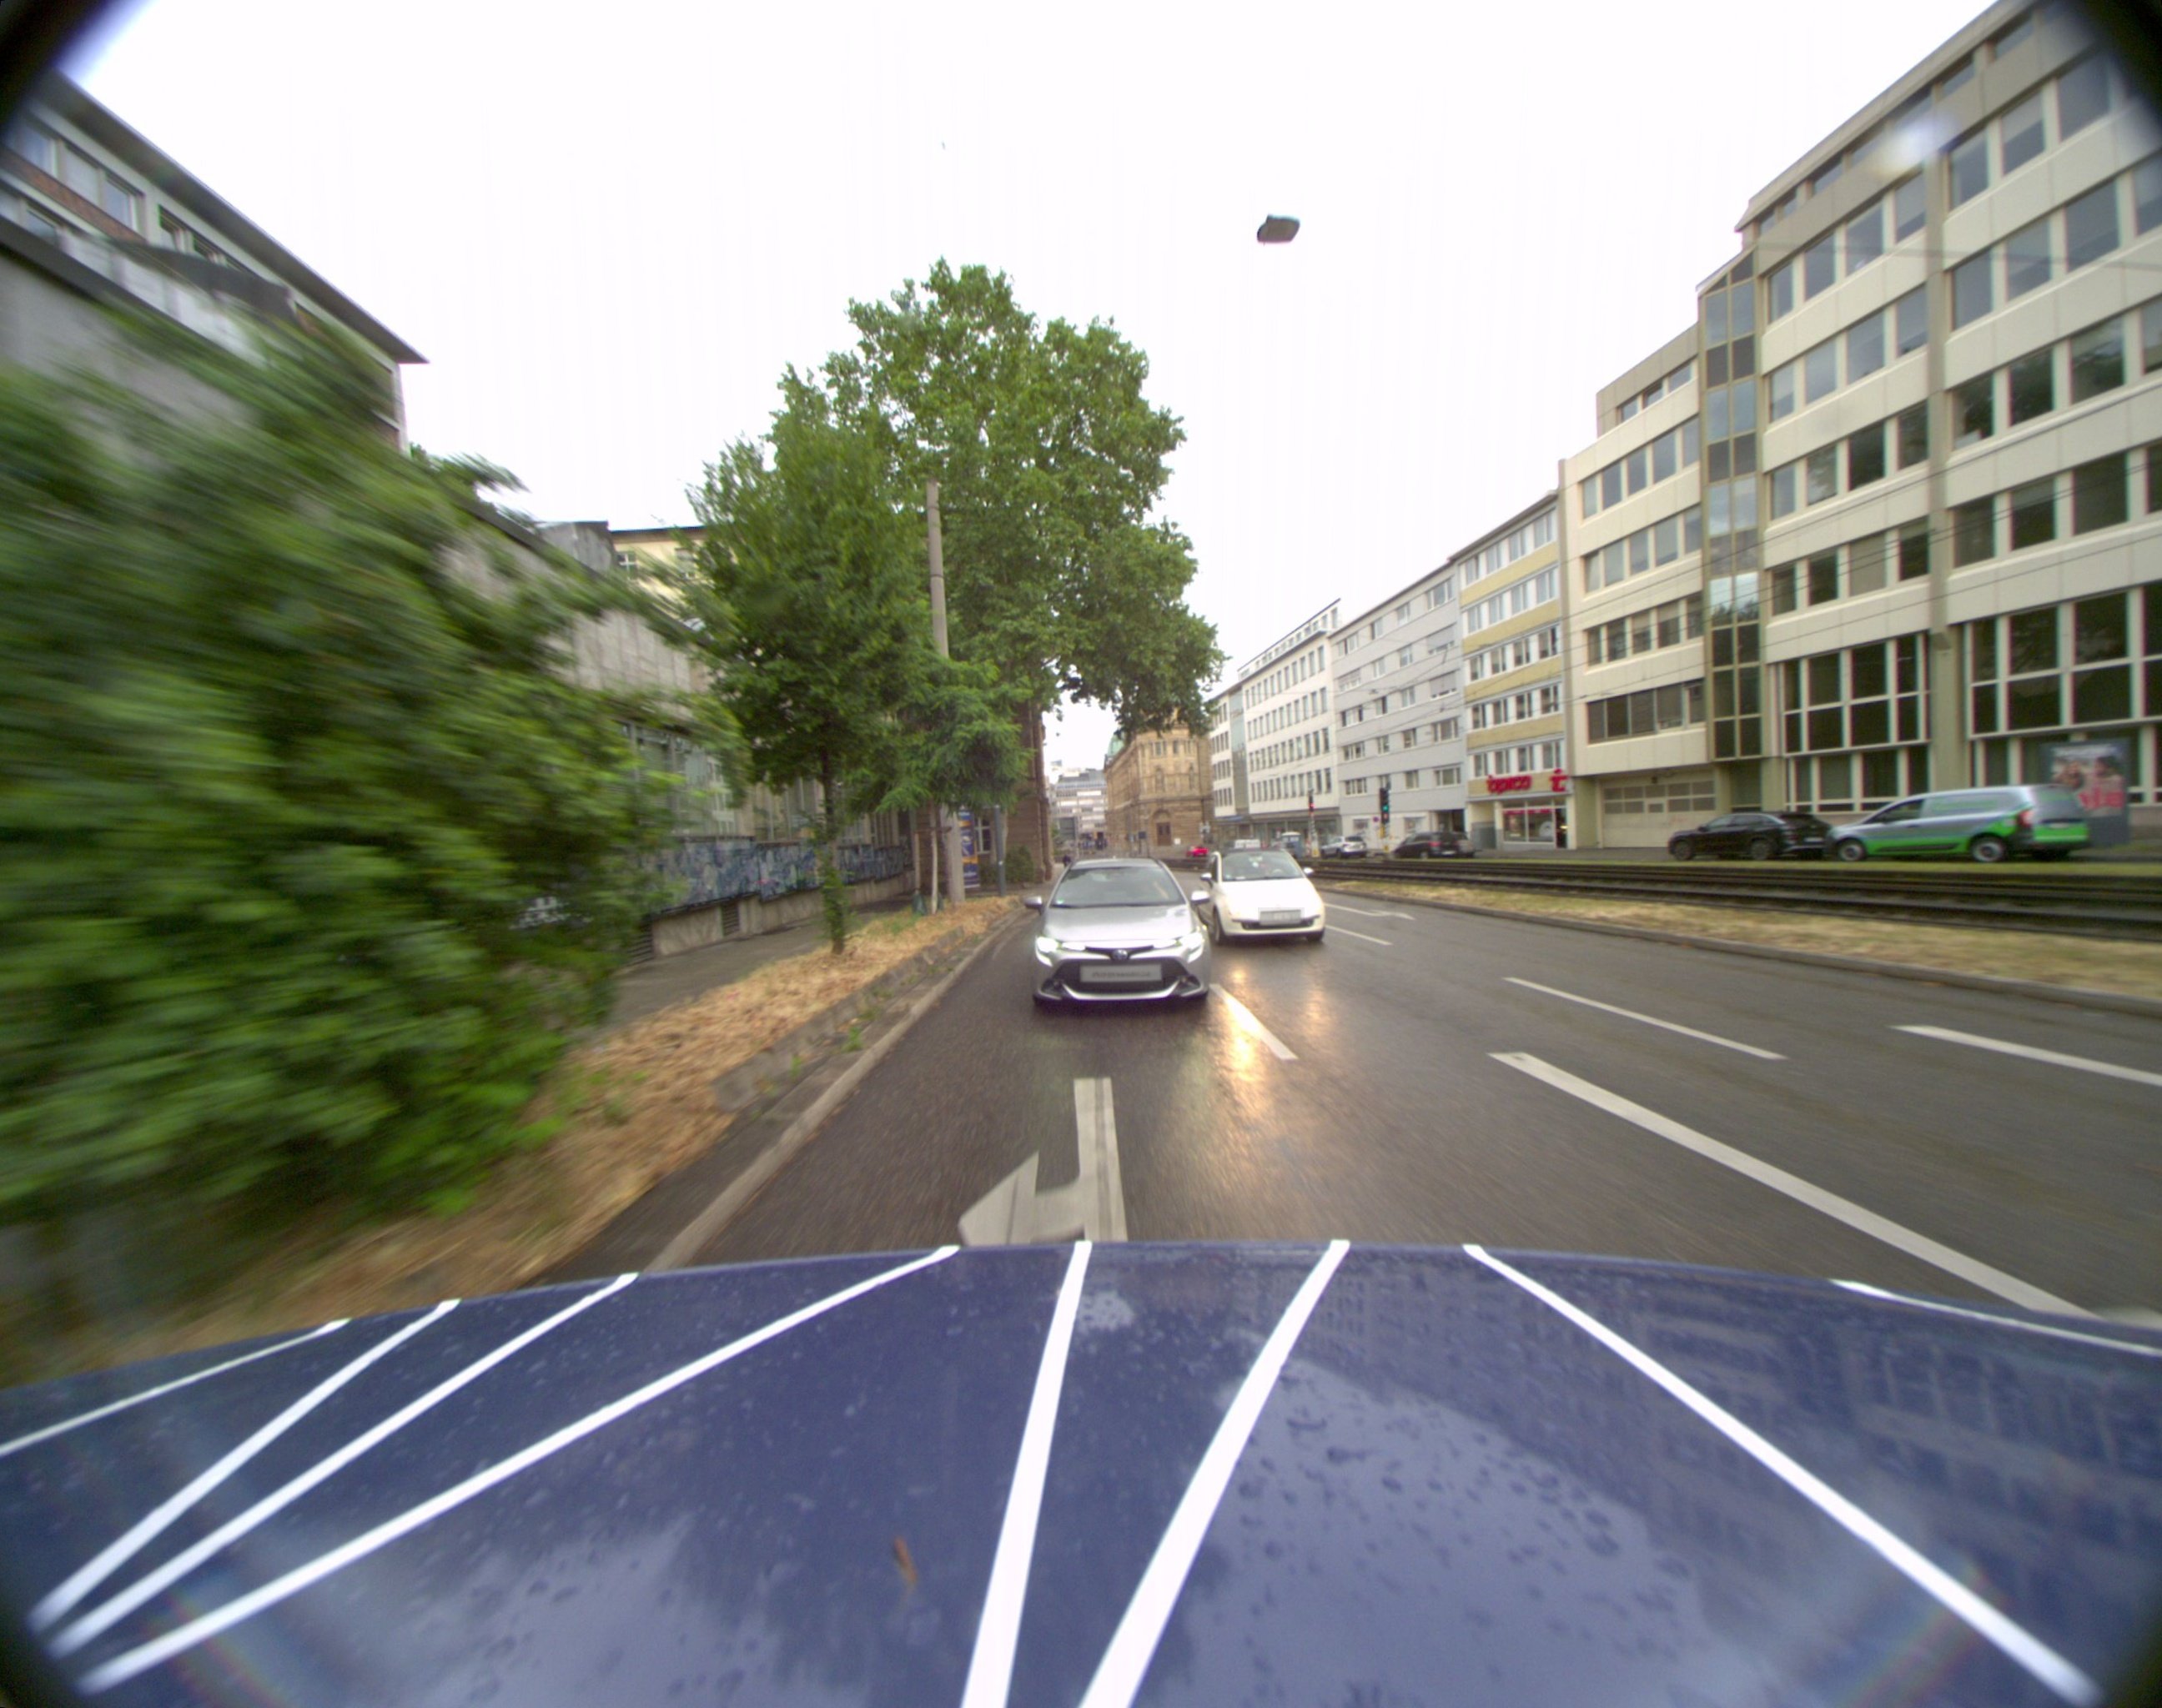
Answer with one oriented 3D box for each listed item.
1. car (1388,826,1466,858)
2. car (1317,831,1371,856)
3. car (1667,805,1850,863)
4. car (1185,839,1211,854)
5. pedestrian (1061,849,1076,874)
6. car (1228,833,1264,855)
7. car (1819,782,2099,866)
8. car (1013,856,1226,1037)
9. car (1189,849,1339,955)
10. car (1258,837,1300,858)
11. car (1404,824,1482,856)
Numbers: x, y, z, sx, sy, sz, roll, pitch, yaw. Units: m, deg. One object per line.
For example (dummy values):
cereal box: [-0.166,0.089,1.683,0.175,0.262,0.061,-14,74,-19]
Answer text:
car: [16.830,-0.559,37.153,1.632,1.349,3.869,-5,1,-6]
car: [18.121,-0.745,52.541,1.890,1.505,4.074,-5,1,-7]
car: [21.054,-0.610,23.867,1.801,1.505,4.074,-5,1,-7]
car: [14.452,-0.956,94.192,1.890,1.615,4.474,-5,1,-7]
pedestrian: [-0.841,0.522,51.723,0.719,1.630,0.760,-5,2,10]
car: [16.253,-0.970,75.039,1.890,1.924,4.474,-5,1,-7]
car: [21.497,-0.694,18.906,1.801,1.736,4.213,-5,1,-8]
car: [0.351,0.820,8.791,1.811,1.426,4.297,-2,1,0]
car: [2.883,0.688,12.660,1.654,1.426,3.439,-2,1,0]
car: [14.678,-0.496,56.491,1.632,1.349,3.869,-5,1,-6]
car: [19.458,-0.749,40.999,1.801,1.505,4.074,-5,1,-7]
